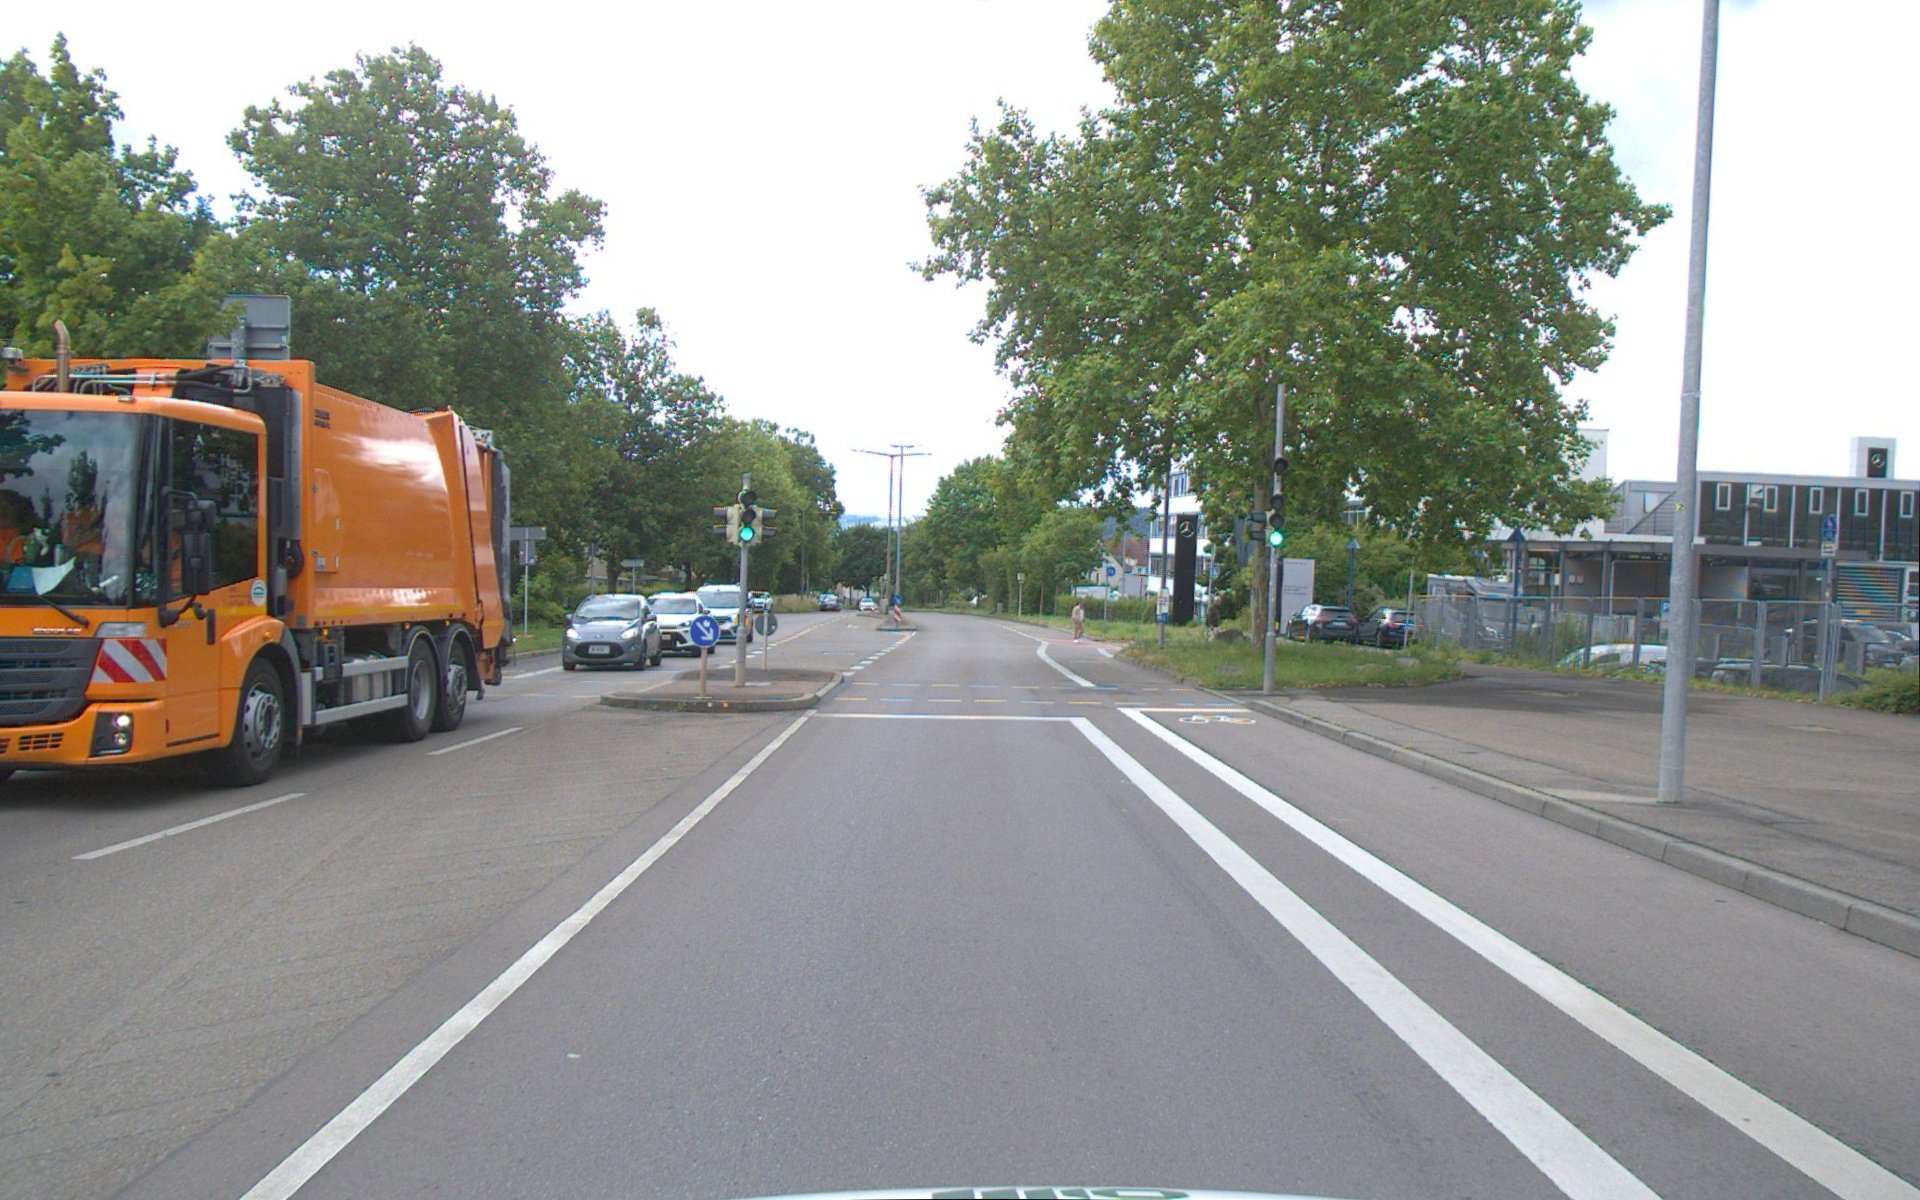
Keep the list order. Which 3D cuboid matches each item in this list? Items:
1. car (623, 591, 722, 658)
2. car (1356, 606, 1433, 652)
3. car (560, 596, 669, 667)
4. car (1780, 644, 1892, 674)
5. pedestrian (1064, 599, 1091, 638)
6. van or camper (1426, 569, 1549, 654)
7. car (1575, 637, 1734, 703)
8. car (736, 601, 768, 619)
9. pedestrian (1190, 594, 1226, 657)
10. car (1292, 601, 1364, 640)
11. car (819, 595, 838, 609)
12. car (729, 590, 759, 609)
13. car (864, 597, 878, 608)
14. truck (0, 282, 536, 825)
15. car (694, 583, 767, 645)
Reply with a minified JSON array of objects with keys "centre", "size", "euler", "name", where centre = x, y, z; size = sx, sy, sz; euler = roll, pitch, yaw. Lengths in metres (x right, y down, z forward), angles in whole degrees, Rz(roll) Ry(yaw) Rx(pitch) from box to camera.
[{"centre":[-7.149,0.570,41.501],"size":[1.809,1.547,4.813],"euler":[-1,0,-2],"name":"car"},{"centre":[16.282,1.052,62.186],"size":[1.676,1.534,4.344],"euler":[3,0,0],"name":"car"},{"centre":[-6.943,0.598,33.534],"size":[1.516,1.354,3.652],"euler":[-1,0,-2],"name":"car"},{"centre":[33.768,2.260,63.782],"size":[3.566,0.995,1.412],"euler":[2,0,-2],"name":"car"},{"centre":[4.501,0.712,63.366],"size":[0.777,1.489,0.745],"euler":[1,0,-20],"name":"pedestrian"},{"centre":[19.282,0.394,60.840],"size":[1.926,2.918,6.915],"euler":[1,0,-3],"name":"van or camper"},{"centre":[19.081,1.904,45.525],"size":[3.661,1.646,1.689],"euler":[2,0,-6],"name":"car"},{"centre":[-16.098,0.767,128.335],"size":[1.637,1.327,4.002],"euler":[2,0,5],"name":"car"},{"centre":[7.426,0.757,49.452],"size":[0.733,1.833,0.859],"euler":[1,0,34],"name":"pedestrian"},{"centre":[13.732,0.735,61.876],"size":[1.676,1.378,4.344],"euler":[1,0,0],"name":"car"},{"centre":[-13.312,0.175,167.548],"size":[1.736,1.327,3.999],"euler":[2,0,-2],"name":"car"},{"centre":[-16.089,-0.040,123.411],"size":[1.638,1.327,4.000],"euler":[2,0,1],"name":"car"},{"centre":[-10.850,0.328,201.962],"size":[1.579,1.327,3.999],"euler":[2,0,-2],"name":"car"},{"centre":[-6.661,-0.374,15.864],"size":[2.651,3.548,9.993],"euler":[2,0,-1],"name":"truck"},{"centre":[-7.113,0.400,51.713],"size":[1.809,1.835,4.648],"euler":[-1,0,-2],"name":"car"}]
